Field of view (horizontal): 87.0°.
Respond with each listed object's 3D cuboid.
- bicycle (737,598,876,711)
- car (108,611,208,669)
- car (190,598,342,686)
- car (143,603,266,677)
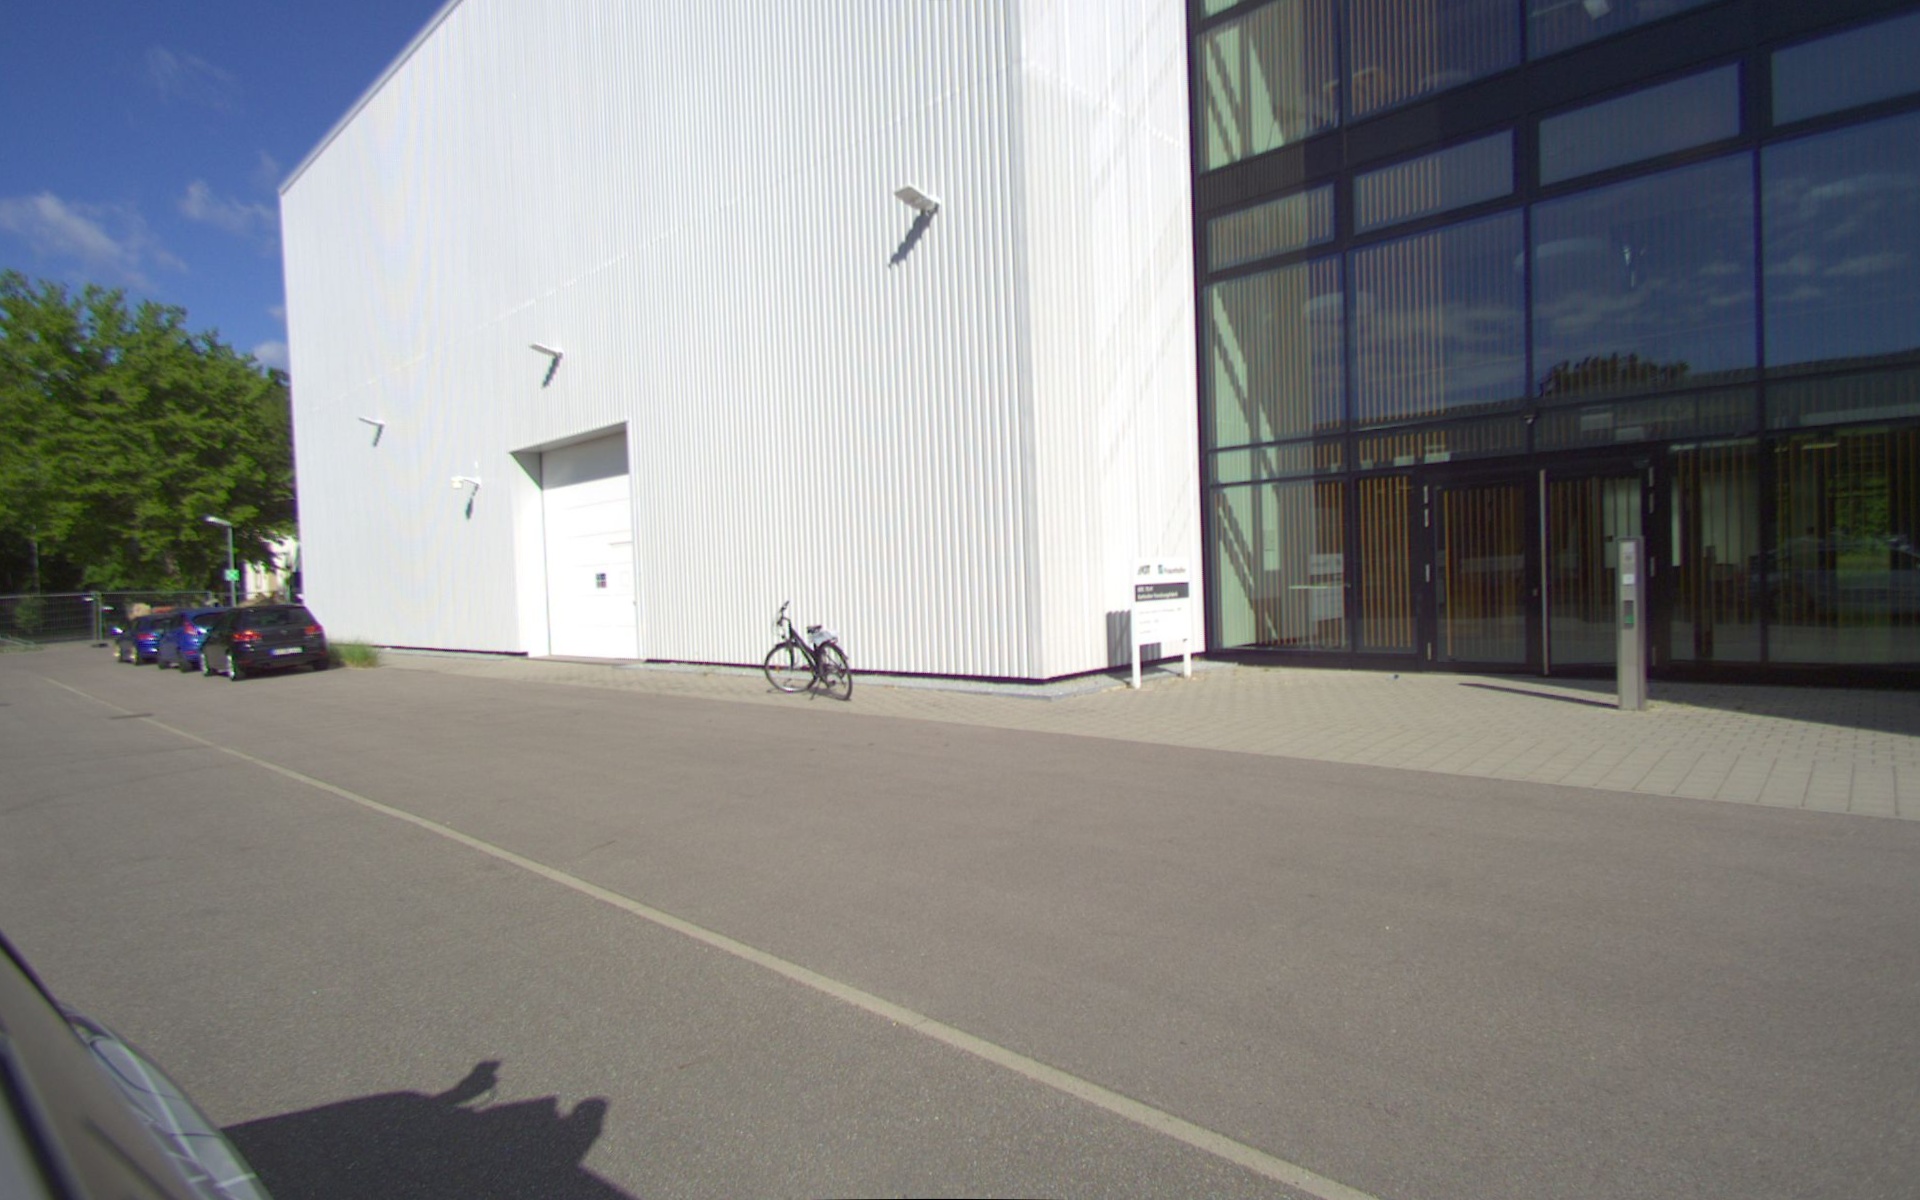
[{"bbox_3d":[-1.881,0.597,12.165,0.895,1.151,1.905,-6,4,-32],"label":"bicycle"},{"bbox_3d":[-22.842,1.092,28.765,4.002,1.451,1.765,-1,0,45],"label":"car"},{"bbox_3d":[-14.851,0.835,21.575,4.002,1.533,1.870,-1,4,45],"label":"car"},{"bbox_3d":[-18.763,0.953,25.075,4.002,1.533,1.766,-1,4,45],"label":"car"}]
